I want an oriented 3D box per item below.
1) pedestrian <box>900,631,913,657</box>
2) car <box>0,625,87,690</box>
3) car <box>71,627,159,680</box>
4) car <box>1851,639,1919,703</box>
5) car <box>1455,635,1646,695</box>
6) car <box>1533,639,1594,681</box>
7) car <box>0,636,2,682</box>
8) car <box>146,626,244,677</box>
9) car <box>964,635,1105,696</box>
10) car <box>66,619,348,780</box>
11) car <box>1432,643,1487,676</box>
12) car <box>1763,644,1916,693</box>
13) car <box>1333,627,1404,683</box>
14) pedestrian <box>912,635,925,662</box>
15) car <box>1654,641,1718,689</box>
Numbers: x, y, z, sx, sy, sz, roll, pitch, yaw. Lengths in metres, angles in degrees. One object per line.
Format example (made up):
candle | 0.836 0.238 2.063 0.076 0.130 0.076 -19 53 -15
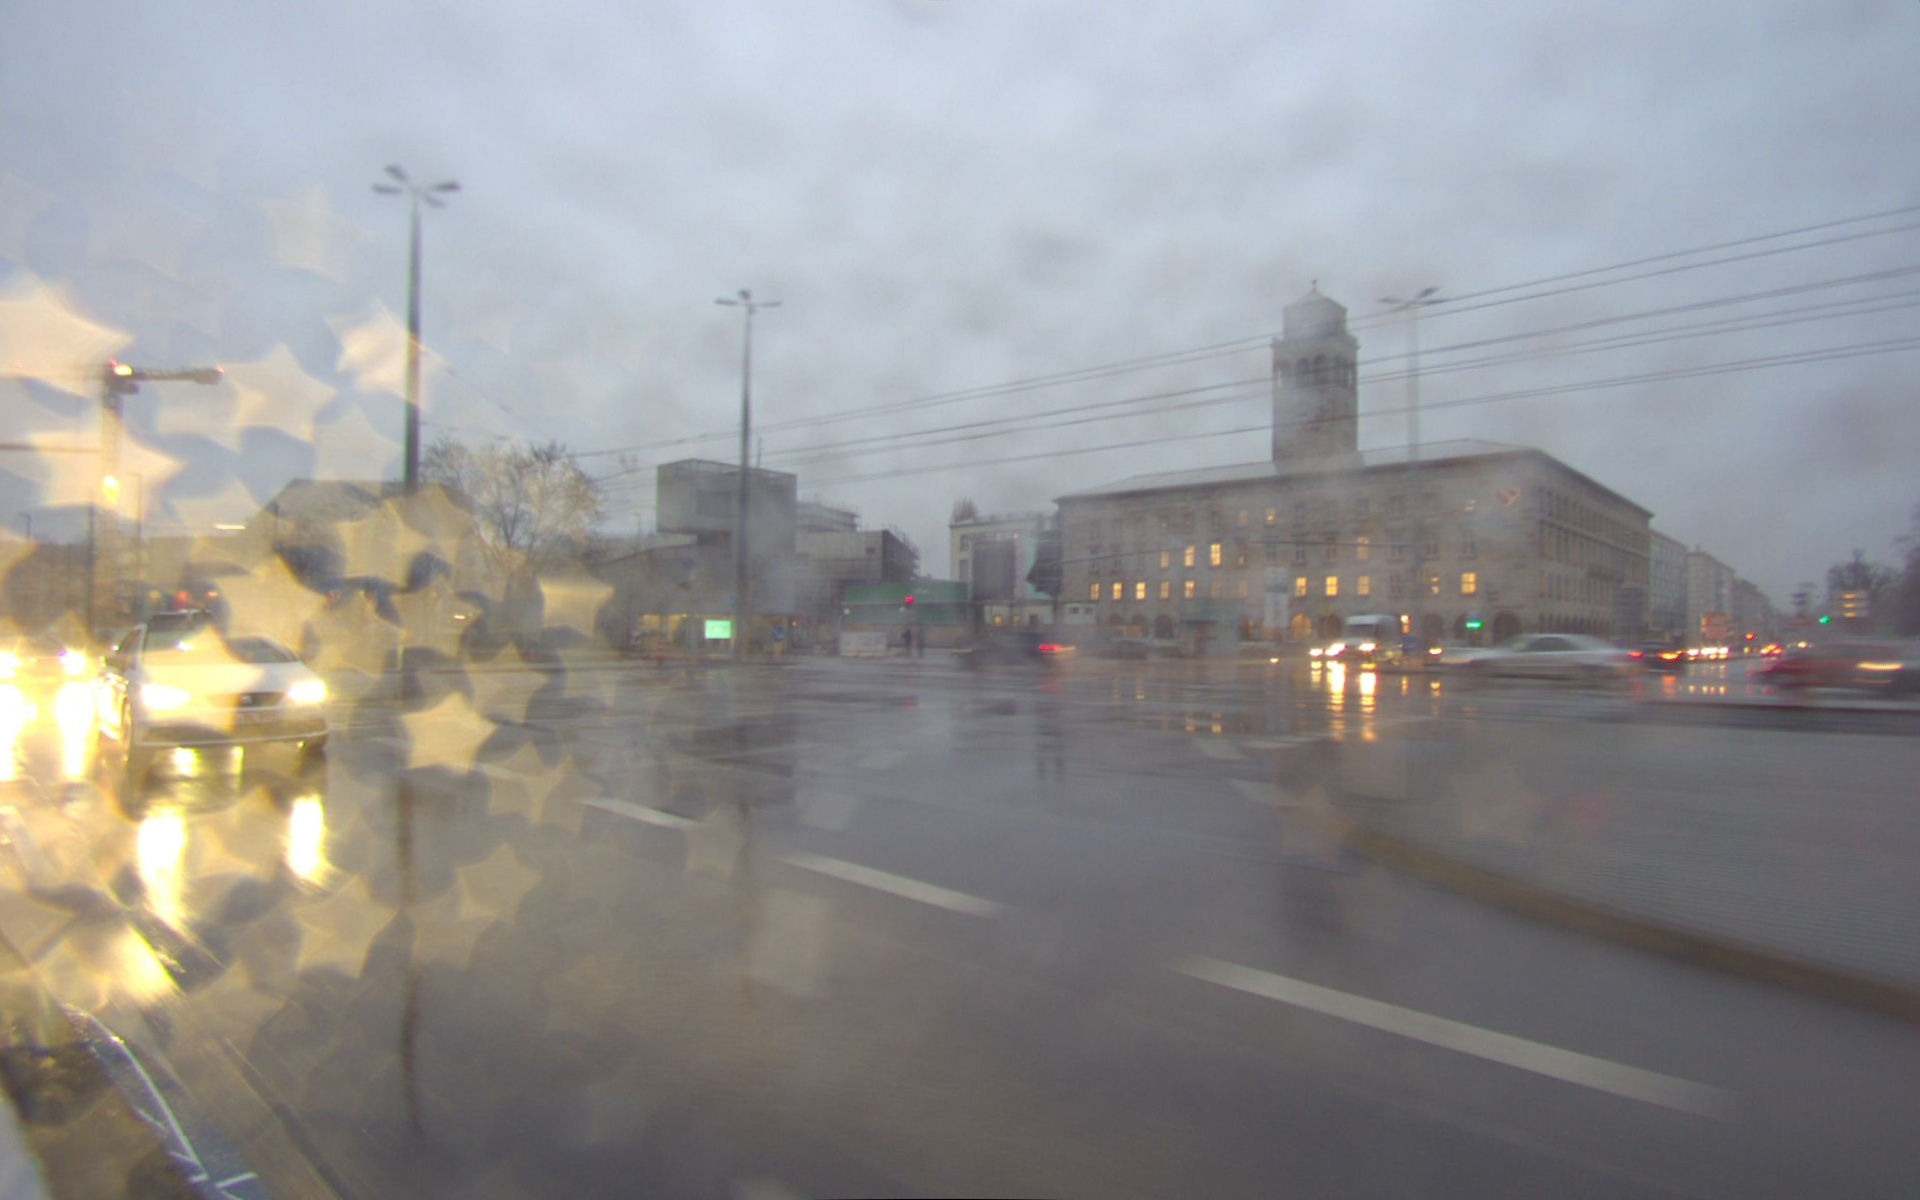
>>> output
pedestrian | -3.362 2.769 63.825 0.645 1.678 0.743 1 -2 -16
car | -26.150 1.556 28.339 3.997 1.696 1.973 -1 -1 40
car | -32.344 2.013 38.701 3.997 1.896 1.928 -2 -1 40
car | 24.468 1.712 24.376 4.258 1.470 1.976 -1 -1 35
car | 16.343 1.751 28.212 4.423 1.492 1.979 -1 -1 31
car | 27.192 2.657 45.533 1.672 1.732 3.552 -2 -2 42
car | -37.133 2.173 37.493 3.982 1.674 1.845 -1 -2 39
car | -25.572 1.696 33.799 3.925 1.541 1.777 -2 -1 40
car | 2.691 2.323 36.892 4.773 2.029 1.979 -1 -1 31
car | -8.659 0.995 11.507 4.138 1.484 1.790 -2 -2 42
car | 31.555 3.711 63.888 2.000 1.893 4.378 -1 -1 42
car | 25.487 1.946 29.378 1.428 1.284 3.165 1 -2 -40
car | 21.240 2.792 52.552 2.000 2.732 4.378 -1 -2 42
pedestrian | -2.593 3.058 63.816 0.645 1.674 0.743 1 -2 -16
car | 31.464 2.757 43.832 1.757 1.893 4.138 -1 -1 42
